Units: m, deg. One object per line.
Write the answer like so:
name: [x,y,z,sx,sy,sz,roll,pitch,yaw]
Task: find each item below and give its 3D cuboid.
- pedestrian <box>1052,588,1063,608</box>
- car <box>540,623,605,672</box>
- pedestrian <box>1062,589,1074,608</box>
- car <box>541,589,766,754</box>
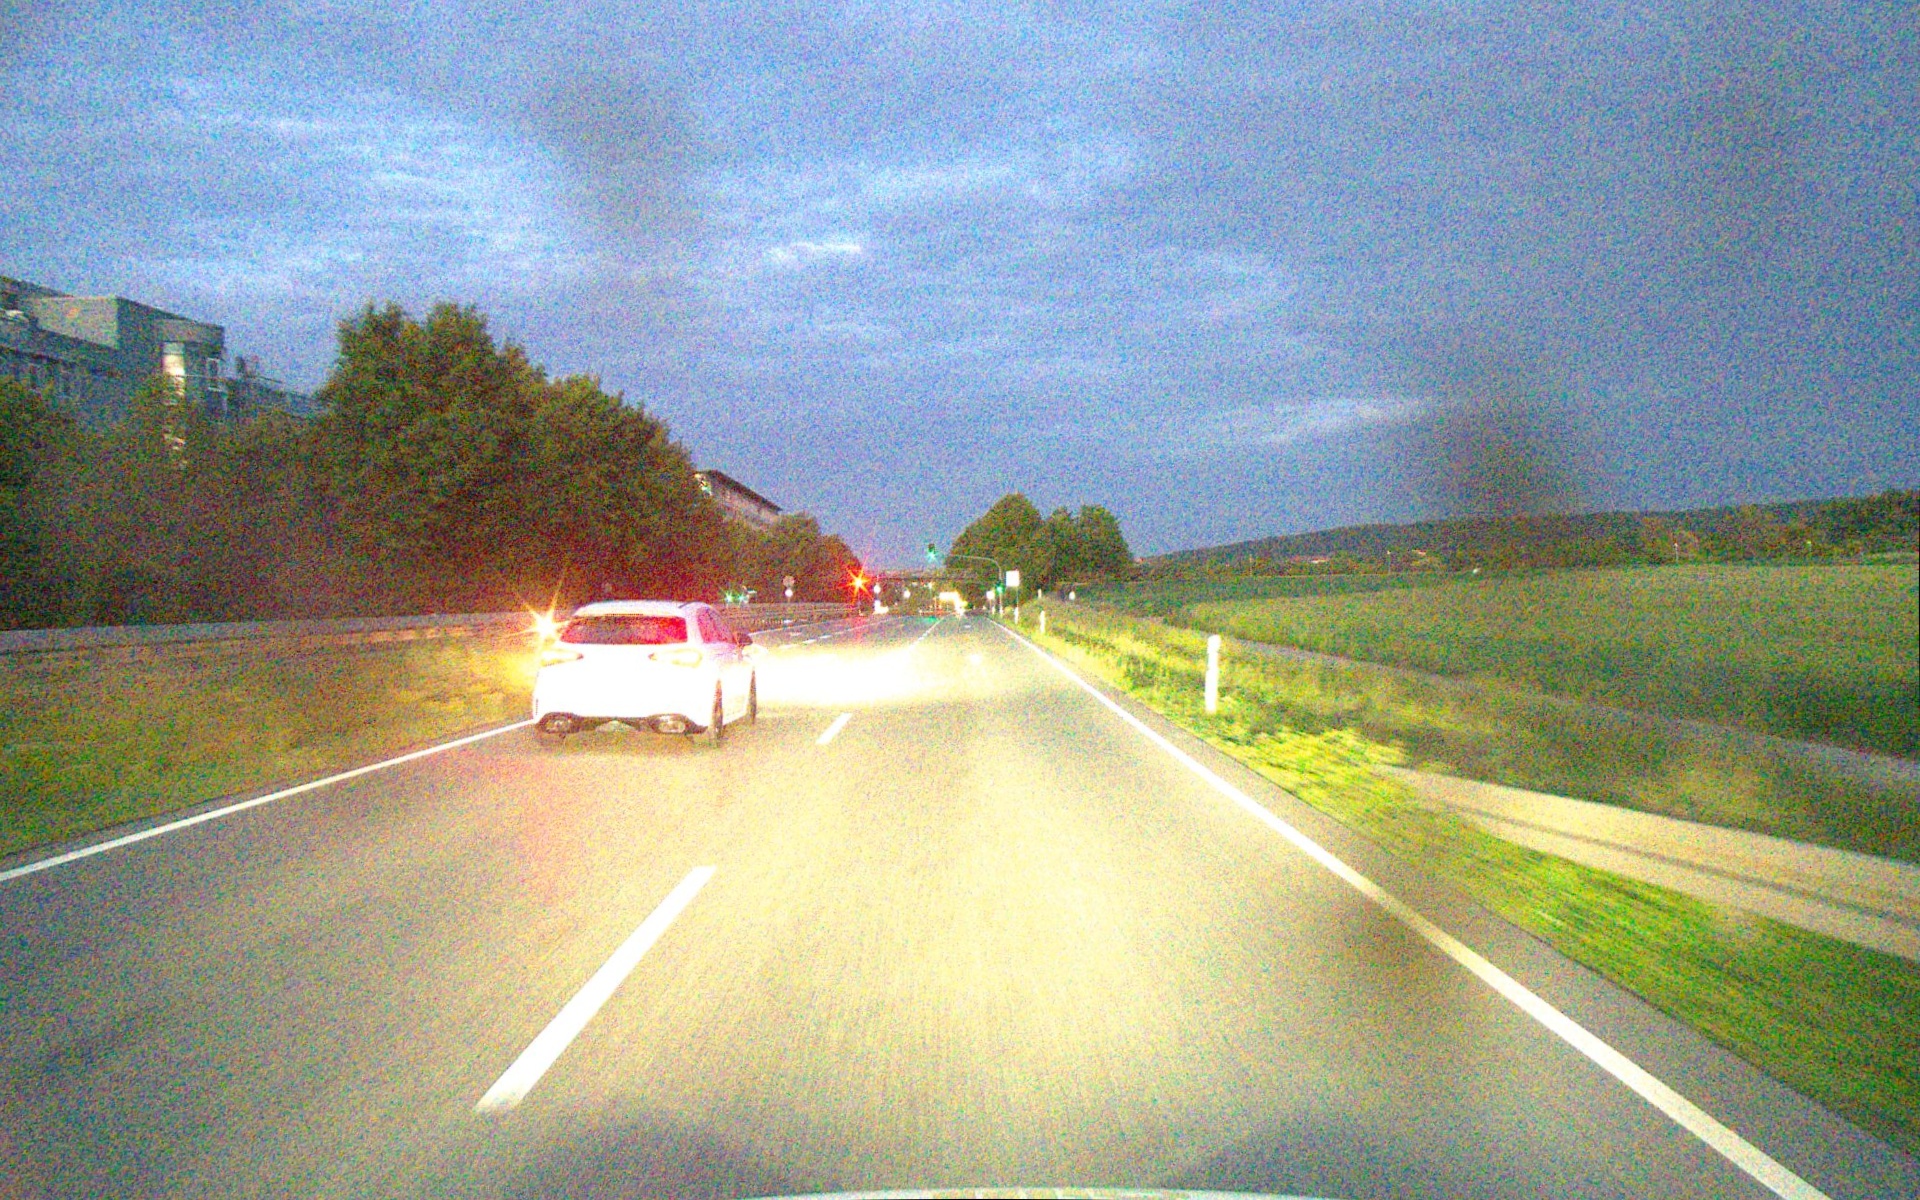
pedestrian: [9.045,-0.177,153.186,0.903,1.824,1.106,0,0,0]
car: [-15.185,1.844,65.007,1.635,1.789,4.000,0,0,0]
pedestrian: [9.995,-0.153,153.102,1.068,1.753,1.260,0,0,-1]
car: [-3.100,0.648,17.568,1.608,1.516,4.579,0,0,-1]
